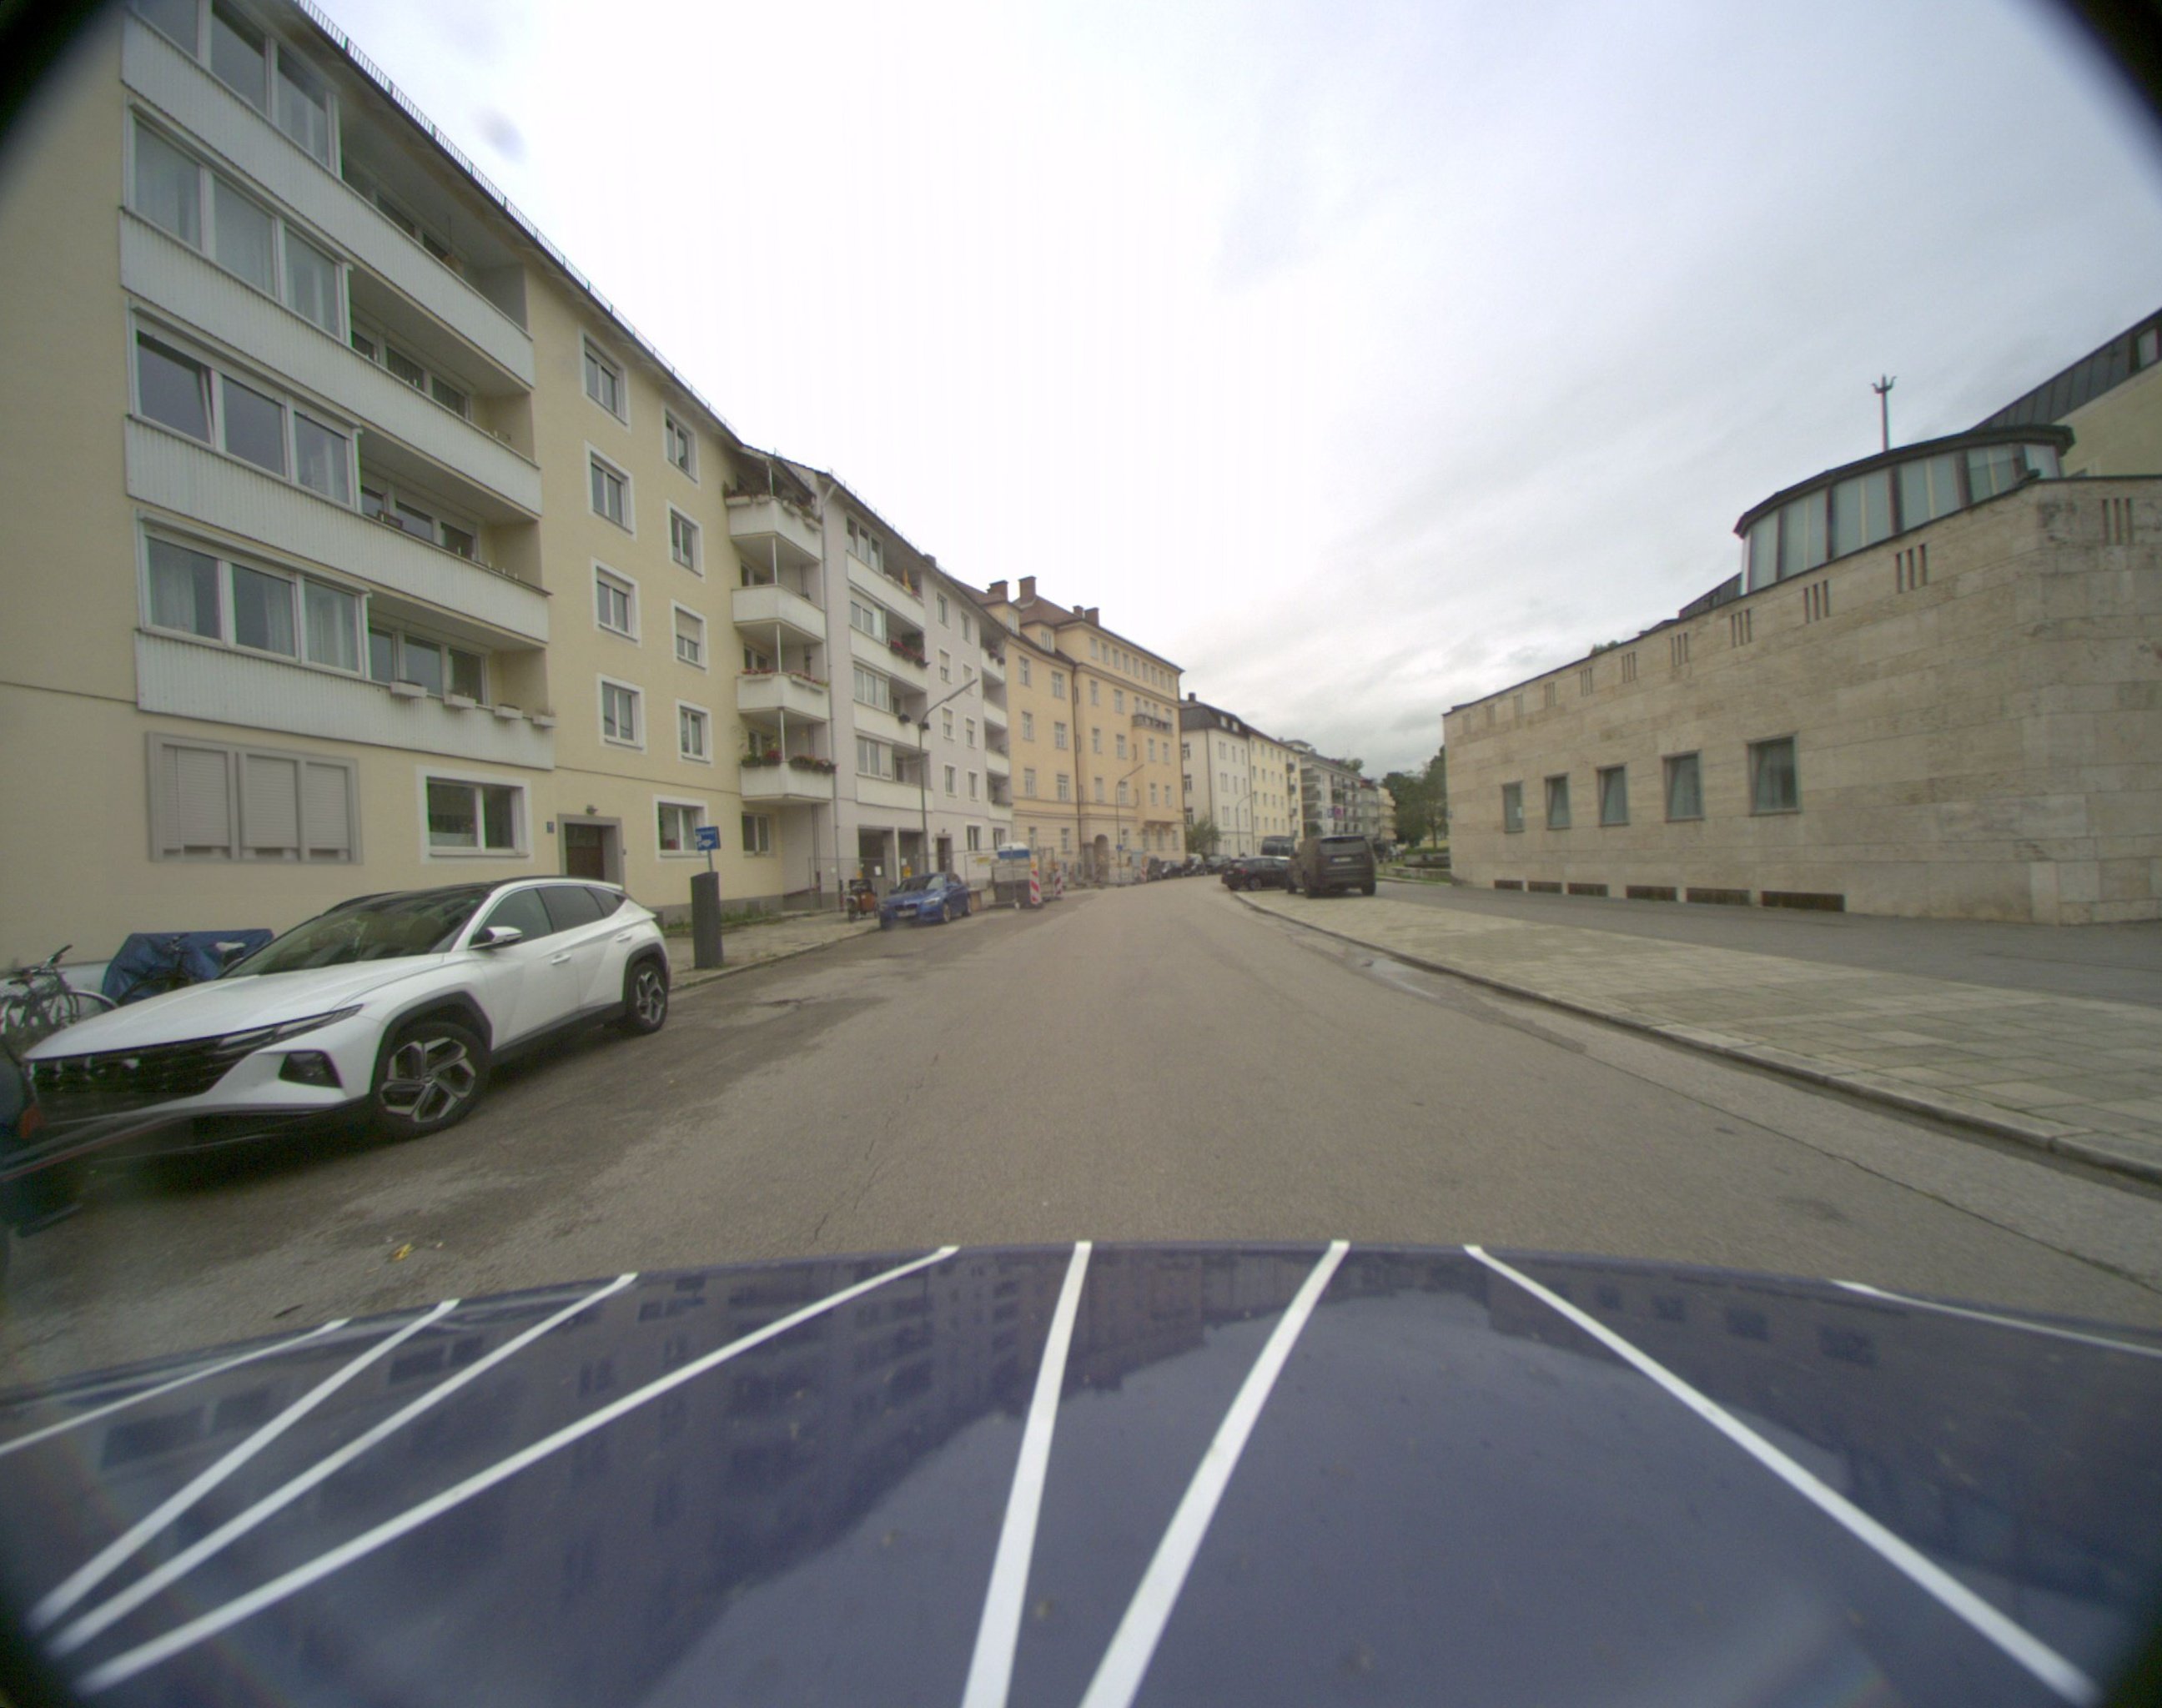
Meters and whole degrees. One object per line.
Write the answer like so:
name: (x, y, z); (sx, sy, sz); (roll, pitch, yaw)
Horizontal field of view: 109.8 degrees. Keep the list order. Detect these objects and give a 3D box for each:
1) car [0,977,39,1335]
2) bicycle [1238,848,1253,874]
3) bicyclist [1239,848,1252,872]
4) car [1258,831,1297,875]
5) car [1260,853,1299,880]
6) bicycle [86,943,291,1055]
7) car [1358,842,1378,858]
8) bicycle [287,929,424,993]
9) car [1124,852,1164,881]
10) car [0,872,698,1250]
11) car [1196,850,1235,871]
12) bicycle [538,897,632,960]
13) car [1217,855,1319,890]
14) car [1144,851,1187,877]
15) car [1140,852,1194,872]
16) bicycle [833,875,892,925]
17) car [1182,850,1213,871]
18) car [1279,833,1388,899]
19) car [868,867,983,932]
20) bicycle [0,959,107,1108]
car: (-4.716, 1.215, 0.974); (1.663, 1.341, 3.801); (-5, 1, -8)
bicycle: (11.589, 0.508, 53.477); (0.796, 1.712, 3.117); (-1, -1, 8)
bicyclist: (11.737, 0.445, 54.286); (0.749, 1.707, 1.032); (-2, -1, 8)
car: (12.540, -0.080, 48.151); (2.147, 2.559, 6.219); (-2, 0, 16)
car: (10.856, 0.628, 41.773); (1.830, 1.379, 4.145); (1, 0, 12)
bicycle: (-10.117, 1.621, 8.635); (1.830, 1.151, 0.578); (-1, 0, 6)
car: (37.411, -0.539, 99.033); (1.945, 1.965, 4.362); (-2, 1, 27)
bicycle: (-10.478, 1.540, 11.003); (1.472, 0.852, 0.444); (0, 0, -5)
car: (4.422, 0.818, 52.928); (1.839, 1.788, 4.243); (-5, -1, 17)
car: (-5.064, 1.055, 5.886); (2.032, 1.668, 4.612); (-5, -1, -5)
car: (12.106, 0.588, 68.155); (1.929, 1.719, 4.696); (-5, -2, 30)
bicycle: (-10.209, 1.538, 15.646); (1.703, 1.214, 0.433); (-2, 0, 6)
car: (8.101, 0.770, 32.892); (4.011, 1.365, 1.746); (-1, 1, -23)
car: (6.479, 0.729, 57.908); (1.838, 1.719, 3.736); (-5, -1, 30)
car: (8.506, 0.774, 75.343); (4.912, 1.761, 1.889); (-2, 1, 28)
bicycle: (-6.613, 1.361, 23.185); (0.811, 1.315, 2.775); (-1, 0, 3)
car: (9.728, 0.551, 63.304); (1.509, 1.547, 2.867); (-5, -1, 31)
car: (7.740, 0.365, 23.845); (1.998, 1.761, 4.816); (-3, -1, 4)
car: (-4.236, 1.193, 21.539); (1.834, 1.433, 4.630); (-6, -1, 5)
bicycle: (-10.077, 1.635, 7.179); (1.828, 1.151, 0.579); (-1, 0, 22)
